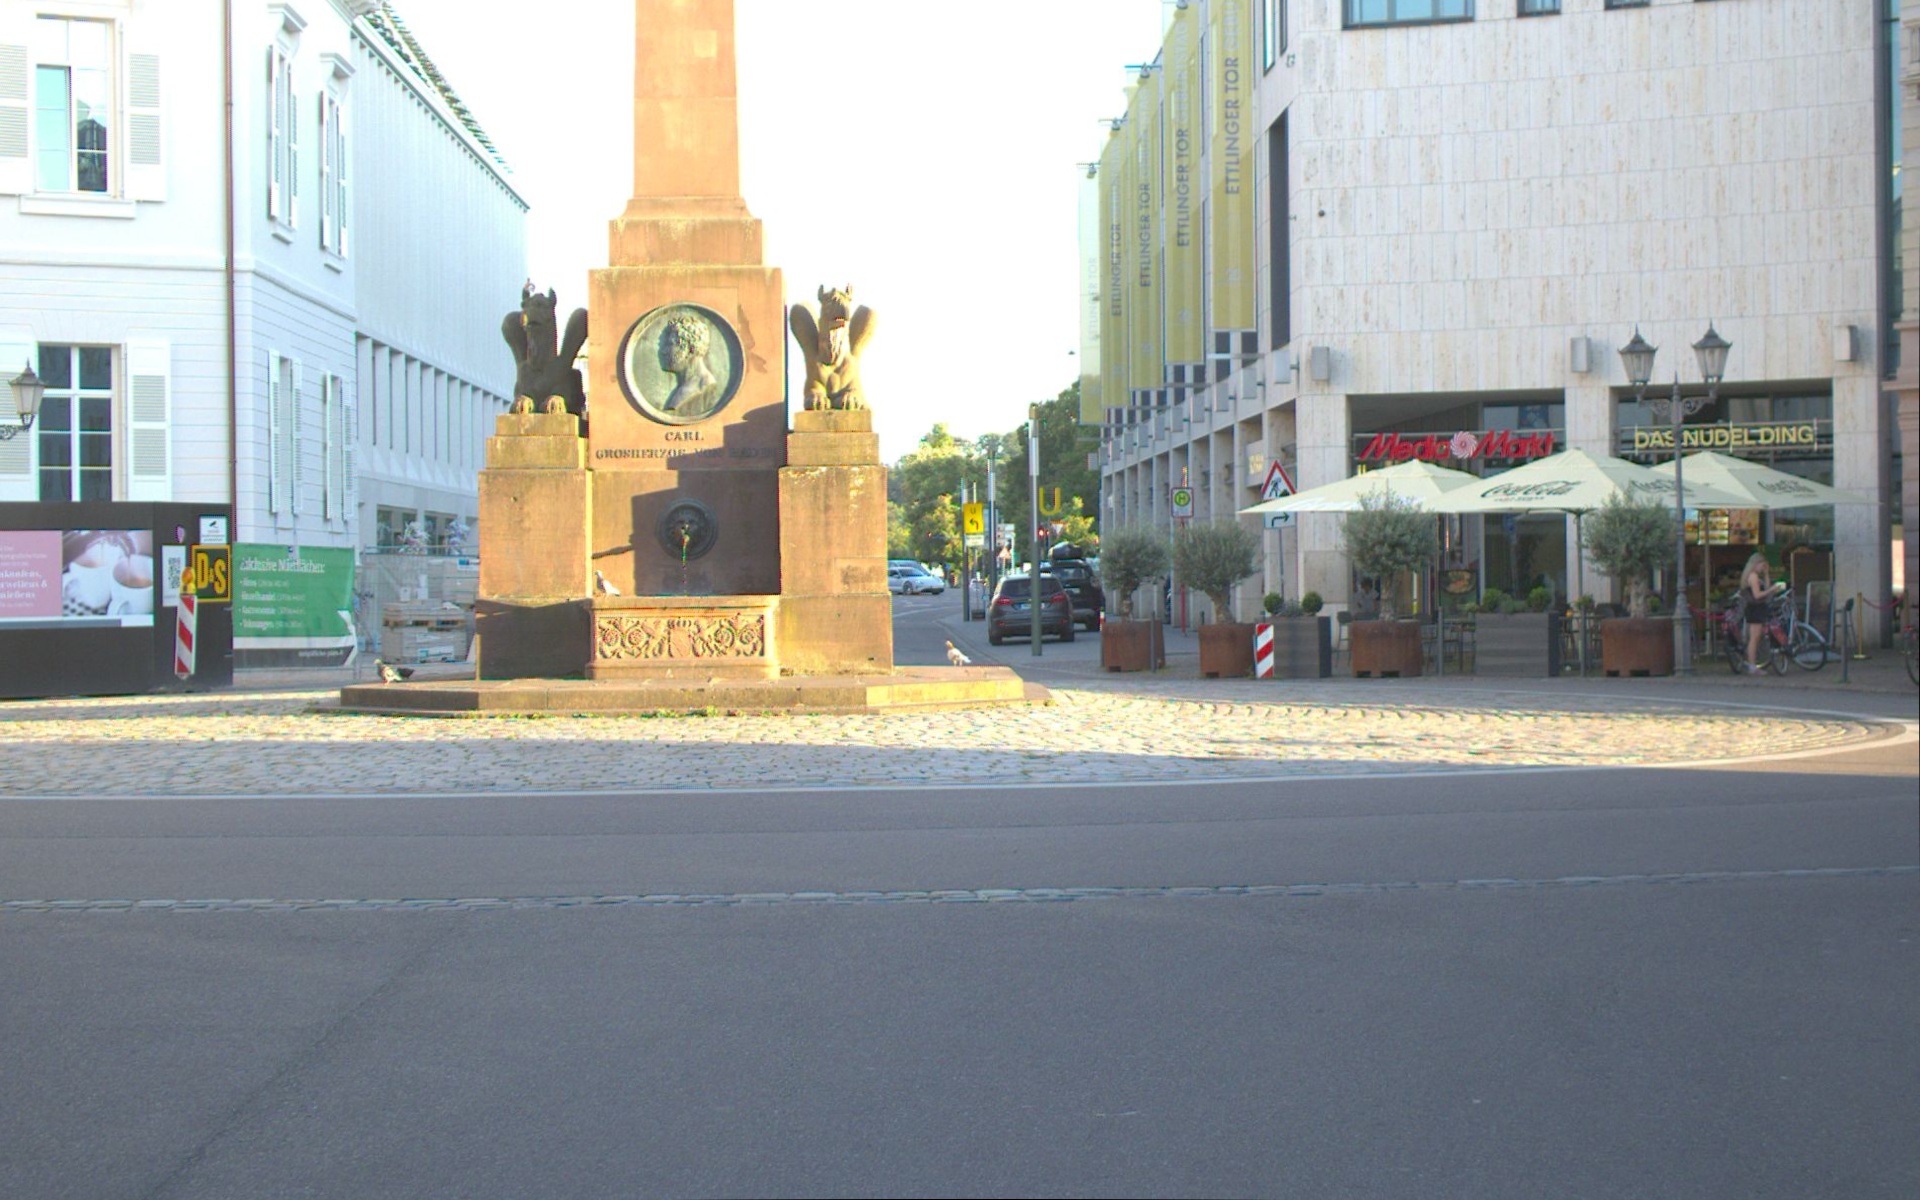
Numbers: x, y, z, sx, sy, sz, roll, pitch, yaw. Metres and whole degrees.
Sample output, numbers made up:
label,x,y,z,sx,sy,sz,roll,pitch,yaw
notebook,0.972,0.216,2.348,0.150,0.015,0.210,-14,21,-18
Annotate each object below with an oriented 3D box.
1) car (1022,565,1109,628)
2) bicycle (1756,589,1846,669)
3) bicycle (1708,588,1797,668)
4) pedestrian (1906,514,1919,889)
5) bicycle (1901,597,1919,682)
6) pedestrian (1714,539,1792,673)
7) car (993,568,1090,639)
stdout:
label,x,y,z,sx,sy,sz,roll,pitch,yaw
car,2.499,-0.100,82.379,1.993,1.459,4.000,0,1,0
bicycle,11.254,0.383,45.993,0.620,1.028,1.642,0,1,35
bicycle,10.678,0.369,46.274,0.600,1.028,1.642,0,1,35
pedestrian,4.549,0.445,14.890,0.690,1.642,0.696,-1,1,-2
bicycle,12.171,0.475,42.515,0.507,1.028,1.642,0,1,35
pedestrian,10.336,0.072,44.817,0.905,1.722,0.849,0,1,7
car,1.725,0.046,73.899,1.993,1.459,4.000,0,1,0
